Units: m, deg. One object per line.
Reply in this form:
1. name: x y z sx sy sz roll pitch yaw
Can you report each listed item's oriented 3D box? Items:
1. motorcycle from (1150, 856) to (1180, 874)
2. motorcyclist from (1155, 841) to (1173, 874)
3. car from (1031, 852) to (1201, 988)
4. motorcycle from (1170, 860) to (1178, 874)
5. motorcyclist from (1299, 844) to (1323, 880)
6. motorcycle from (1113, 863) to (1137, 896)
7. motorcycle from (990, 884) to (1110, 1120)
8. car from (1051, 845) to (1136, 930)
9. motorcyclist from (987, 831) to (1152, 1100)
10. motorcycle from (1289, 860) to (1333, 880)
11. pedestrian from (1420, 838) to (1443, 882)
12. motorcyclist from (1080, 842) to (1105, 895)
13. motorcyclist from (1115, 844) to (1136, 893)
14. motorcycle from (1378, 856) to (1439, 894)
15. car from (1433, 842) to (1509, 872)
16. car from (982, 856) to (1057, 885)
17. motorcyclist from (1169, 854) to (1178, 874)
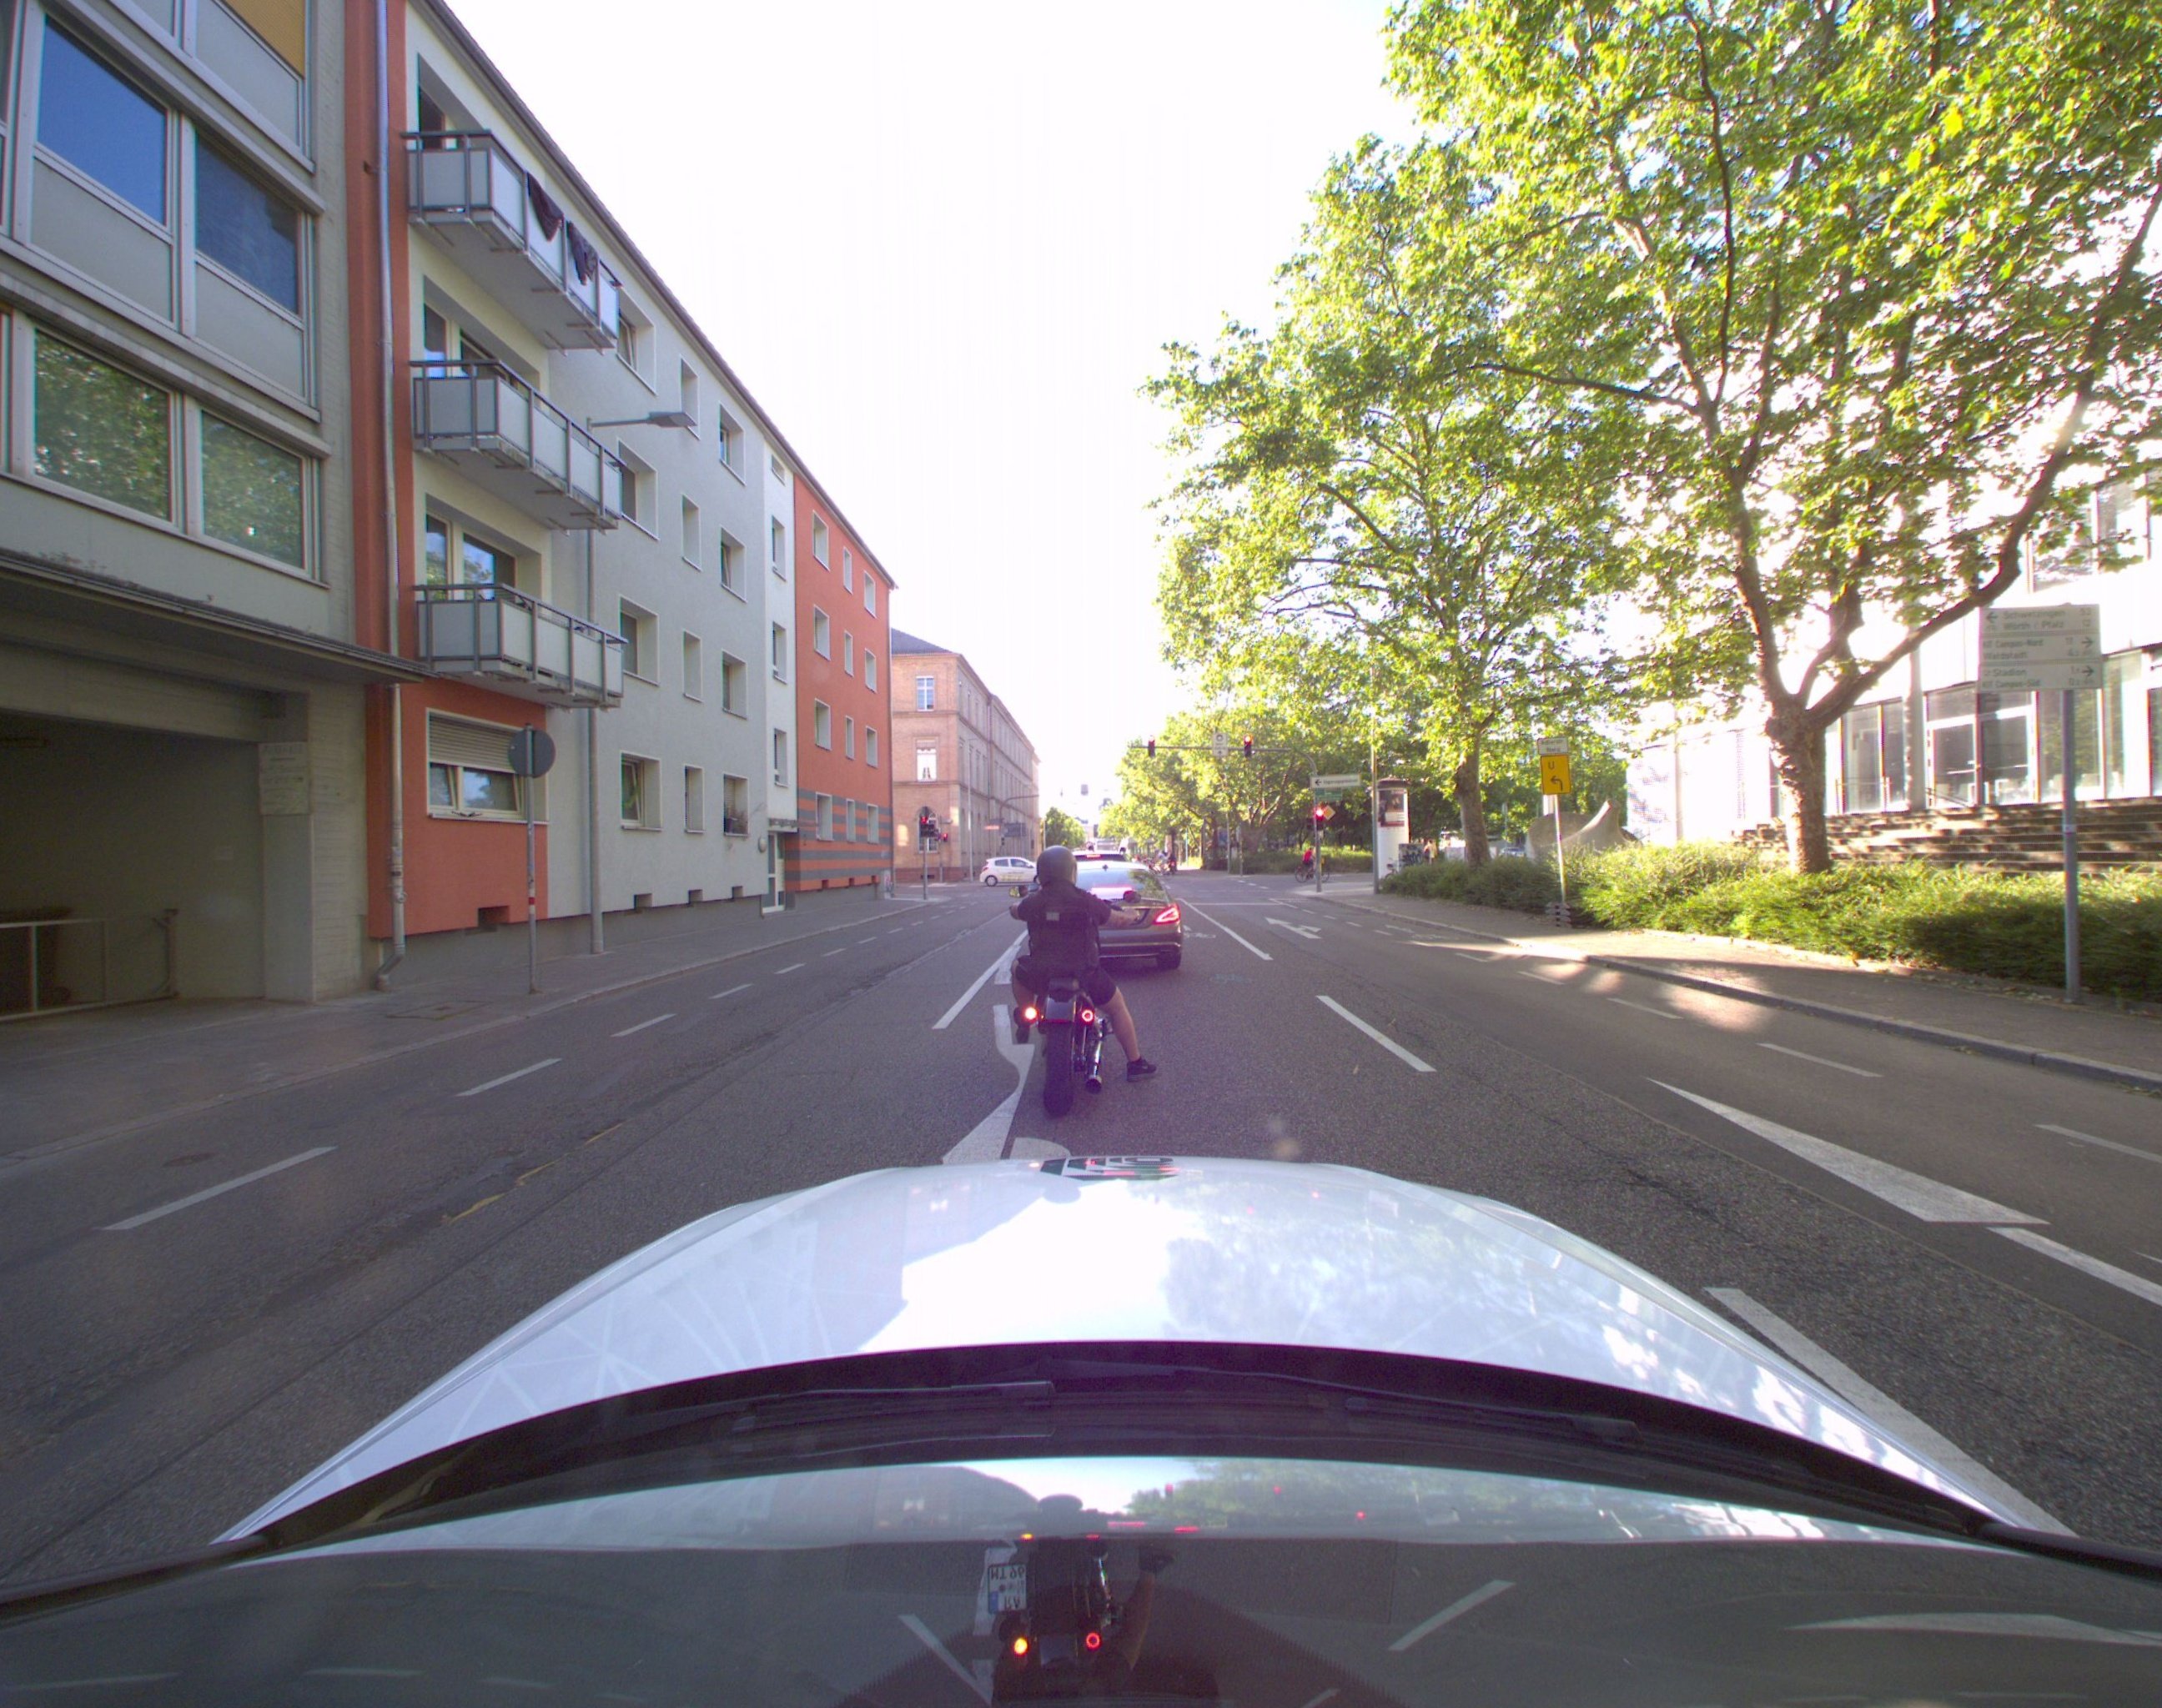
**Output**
1. motorcycle: 4.798 0.639 46.528 1.710 1.002 0.416 -1 0 6
2. motorcyclist: 4.749 0.201 46.493 0.978 1.876 0.377 -1 -1 6
3. car: 0.262 0.746 11.253 1.821 1.486 4.325 0 0 -5
4. motorcycle: 7.275 1.003 63.916 0.623 1.097 2.091 0 -1 6
5. motorcyclist: 11.142 0.407 39.471 0.981 1.722 0.551 0 -1 0
6. motorcycle: 1.575 0.891 29.332 0.794 1.131 2.237 0 -1 2
7. motorcycle: -0.141 0.859 5.551 0.657 1.240 2.058 0 -1 2
8. car: 0.314 0.666 17.788 1.645 1.652 4.002 0 -1 2
9. motorcyclist: -0.052 0.672 5.458 0.986 1.611 1.121 0 -1 1
10. motorcycle: 11.136 0.775 39.466 2.005 0.962 0.580 0 -1 0
11. pedestrian: 14.937 0.263 34.709 0.645 1.827 0.667 -1 0 1
12. motorcyclist: 0.388 0.490 27.934 0.828 1.788 0.913 0 -1 1
13. motorcyclist: 1.588 0.527 29.342 0.714 1.743 0.751 0 -1 1
14. motorcycle: 11.074 0.709 27.553 1.771 1.243 0.724 0 -1 7
15. car: 24.633 0.197 51.531 3.974 1.772 1.738 -1 0 -1
16. car: -3.137 0.837 41.590 3.737 1.418 1.438 -1 -1 -4
17. motorcyclist: 7.282 0.764 64.109 0.640 1.537 0.944 0 -1 6
